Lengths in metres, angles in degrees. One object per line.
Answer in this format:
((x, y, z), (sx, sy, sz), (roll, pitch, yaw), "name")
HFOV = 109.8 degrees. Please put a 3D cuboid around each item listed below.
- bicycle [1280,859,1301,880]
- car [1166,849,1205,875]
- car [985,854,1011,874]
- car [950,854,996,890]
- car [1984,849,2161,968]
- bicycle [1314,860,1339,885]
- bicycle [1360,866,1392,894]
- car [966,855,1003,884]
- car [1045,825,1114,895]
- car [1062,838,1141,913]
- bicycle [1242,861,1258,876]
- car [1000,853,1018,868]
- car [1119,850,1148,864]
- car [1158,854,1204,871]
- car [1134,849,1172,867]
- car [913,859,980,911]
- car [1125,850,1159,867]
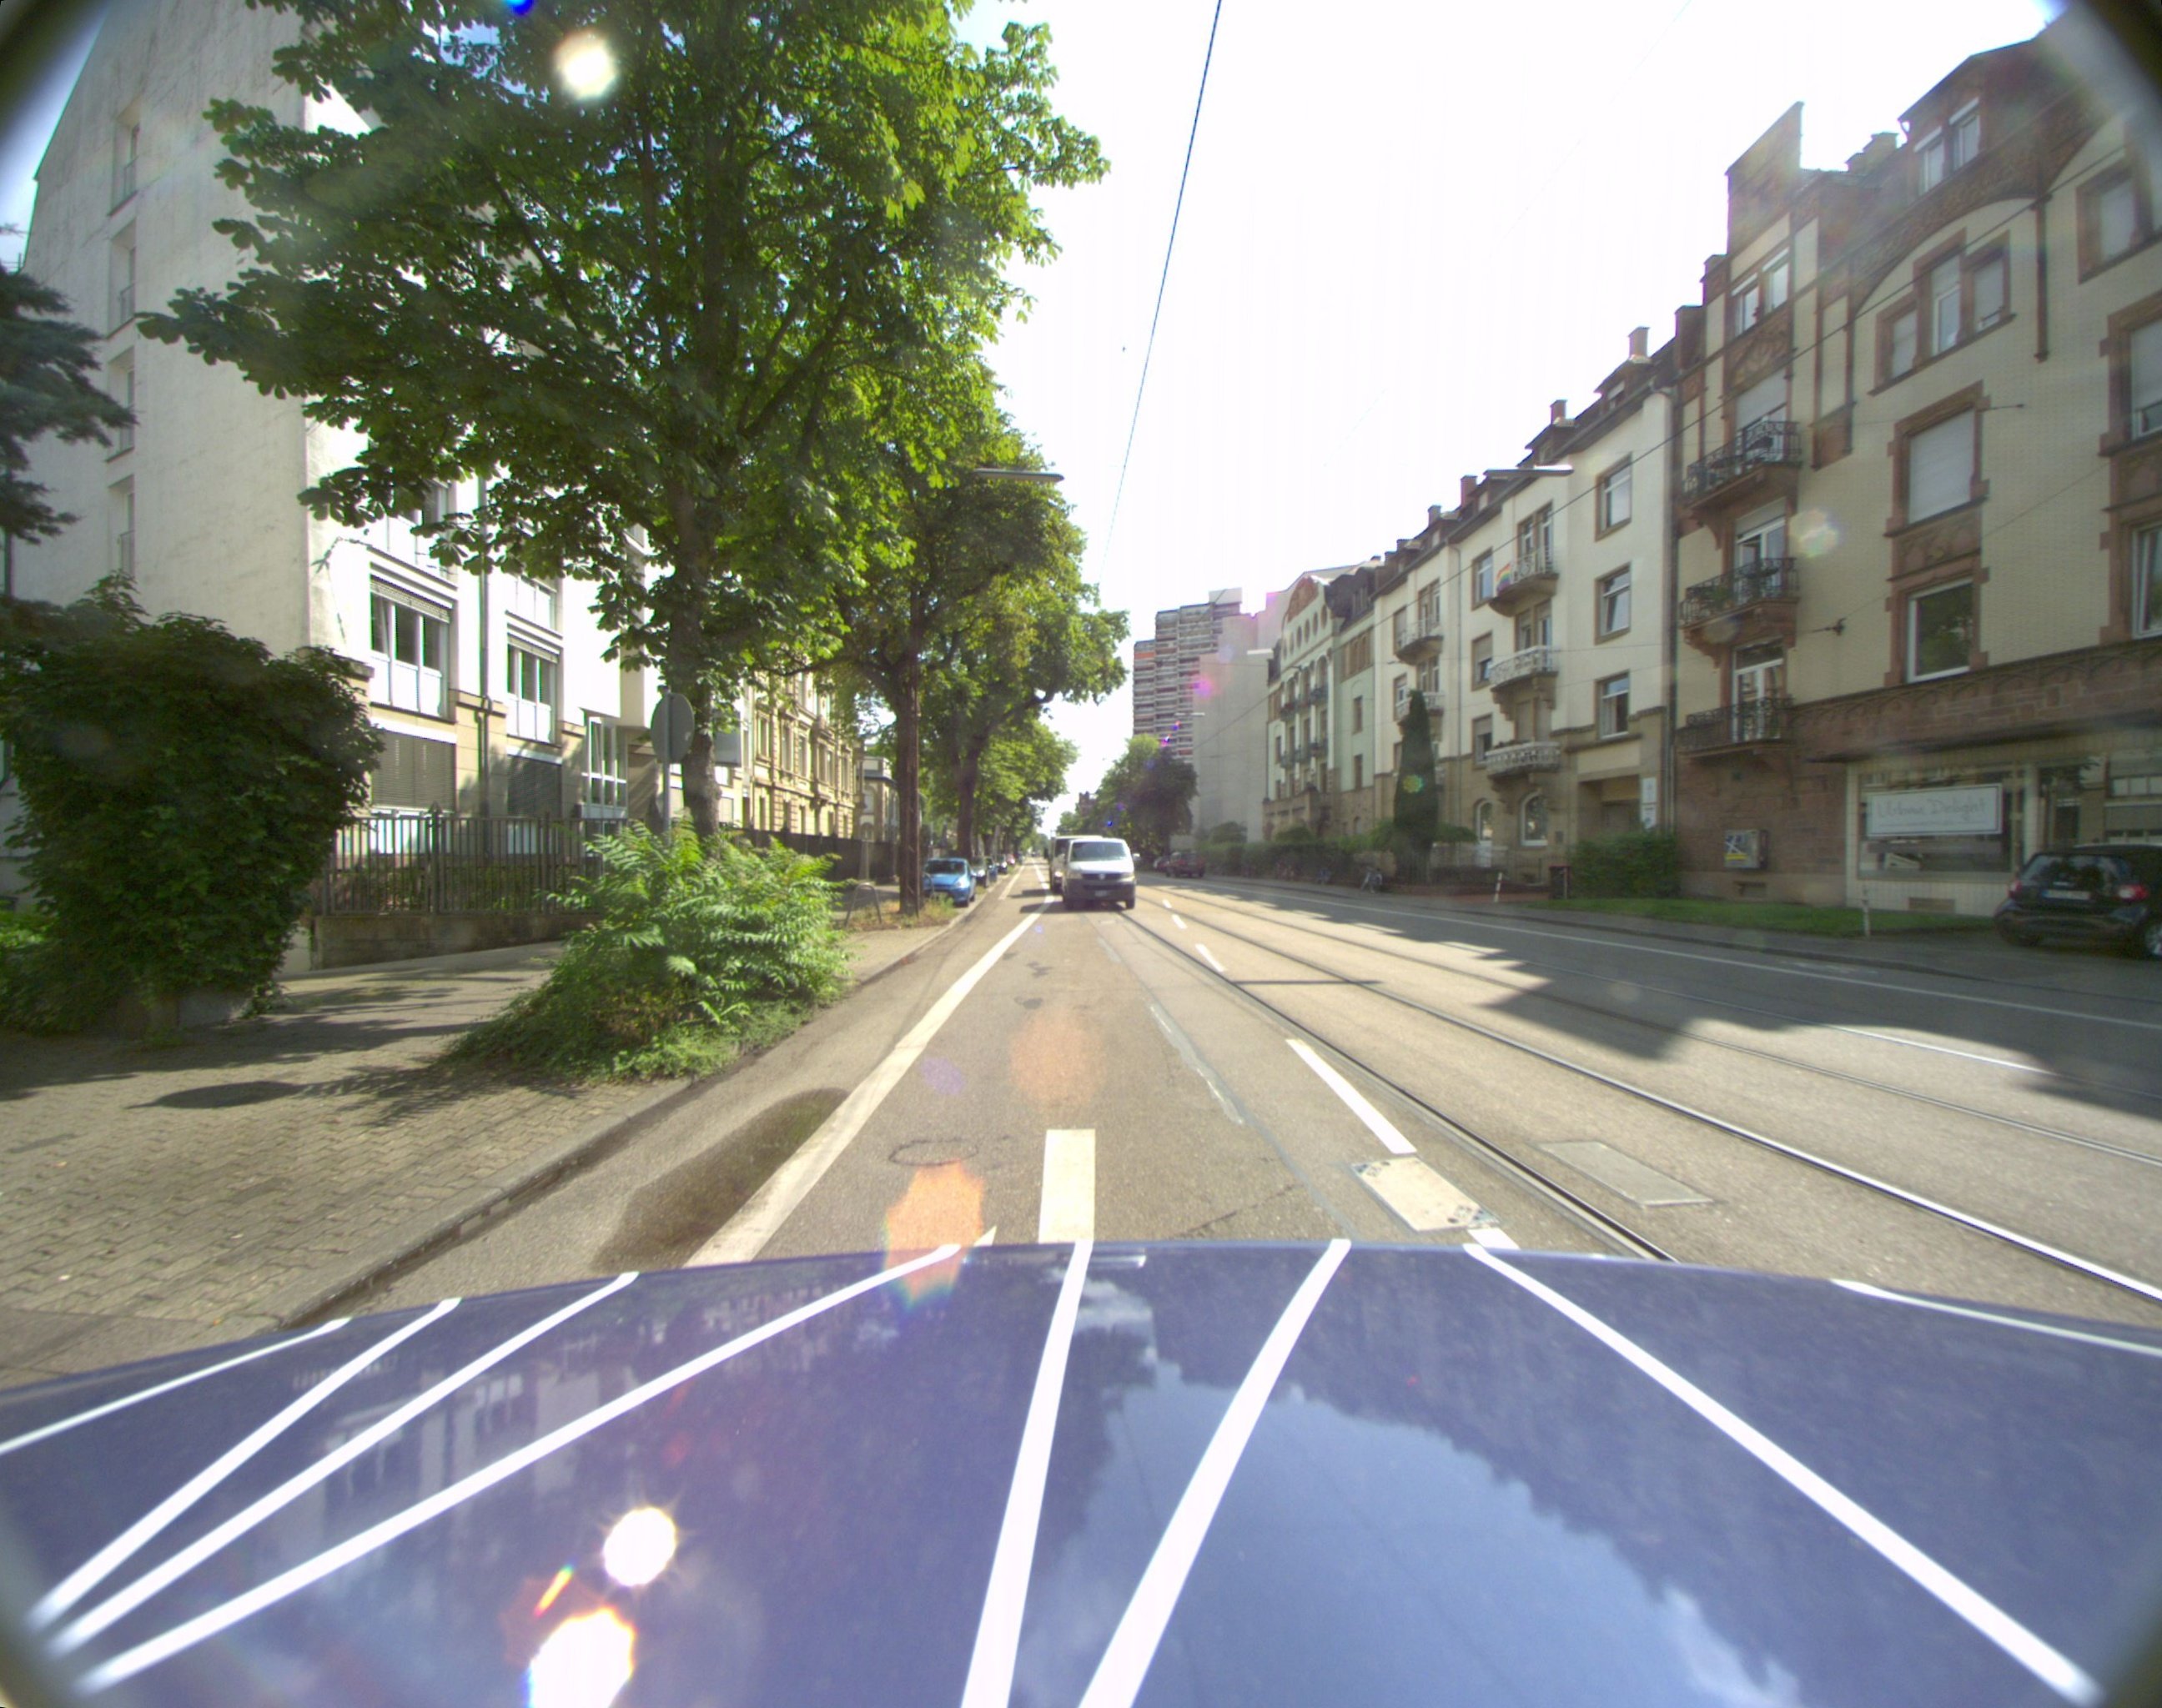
((10.694, 0.778, 38.803), (0.587, 0.980, 1.872), (0, 1, 1), "bicycle")
((7.047, 0.498, 51.598), (1.797, 1.701, 4.329), (0, 0, -4), "car")
((-6.667, 0.759, 61.203), (1.774, 1.522, 4.198), (2, 0, -3), "car")
((-4.806, 0.768, 34.229), (1.644, 1.499, 3.621), (2, 0, -2), "car")
((15.761, 0.714, 10.973), (3.453, 1.478, 1.706), (-2, 1, -2), "car")
((11.050, 0.827, 34.277), (0.539, 1.024, 1.872), (0, 1, 1), "bicycle")
((11.264, 0.977, 29.068), (0.524, 0.901, 2.067), (0, 2, 4), "bicycle")
((-5.338, 0.817, 42.340), (1.724, 1.443, 3.924), (2, 0, -3), "car")
((-0.188, 0.189, 30.947), (2.169, 2.572, 5.660), (0, 0, -7), "car")
((0.461, 0.520, 21.480), (1.832, 1.856, 4.844), (-1, 0, -3), "car")
((9.987, 0.864, 44.945), (0.587, 0.792, 1.872), (-3, 1, 1), "bicycle")
((-7.931, 0.726, 84.034), (1.774, 1.563, 4.198), (2, 0, -3), "car")
((6.722, 0.407, 96.796), (3.542, 1.733, 1.635), (0, 1, -1), "car")
((8.866, 0.767, 67.597), (3.890, 1.527, 1.634), (0, 0, -2), "car")
((7.925, 0.433, 83.818), (3.997, 1.914, 1.830), (0, 0, -1), "car")
((-4.161, 0.917, 23.947), (1.642, 1.447, 3.697), (2, 0, -4), "car")
((6.996, 0.499, 87.063), (3.663, 1.832, 1.735), (0, 1, -3), "car")
